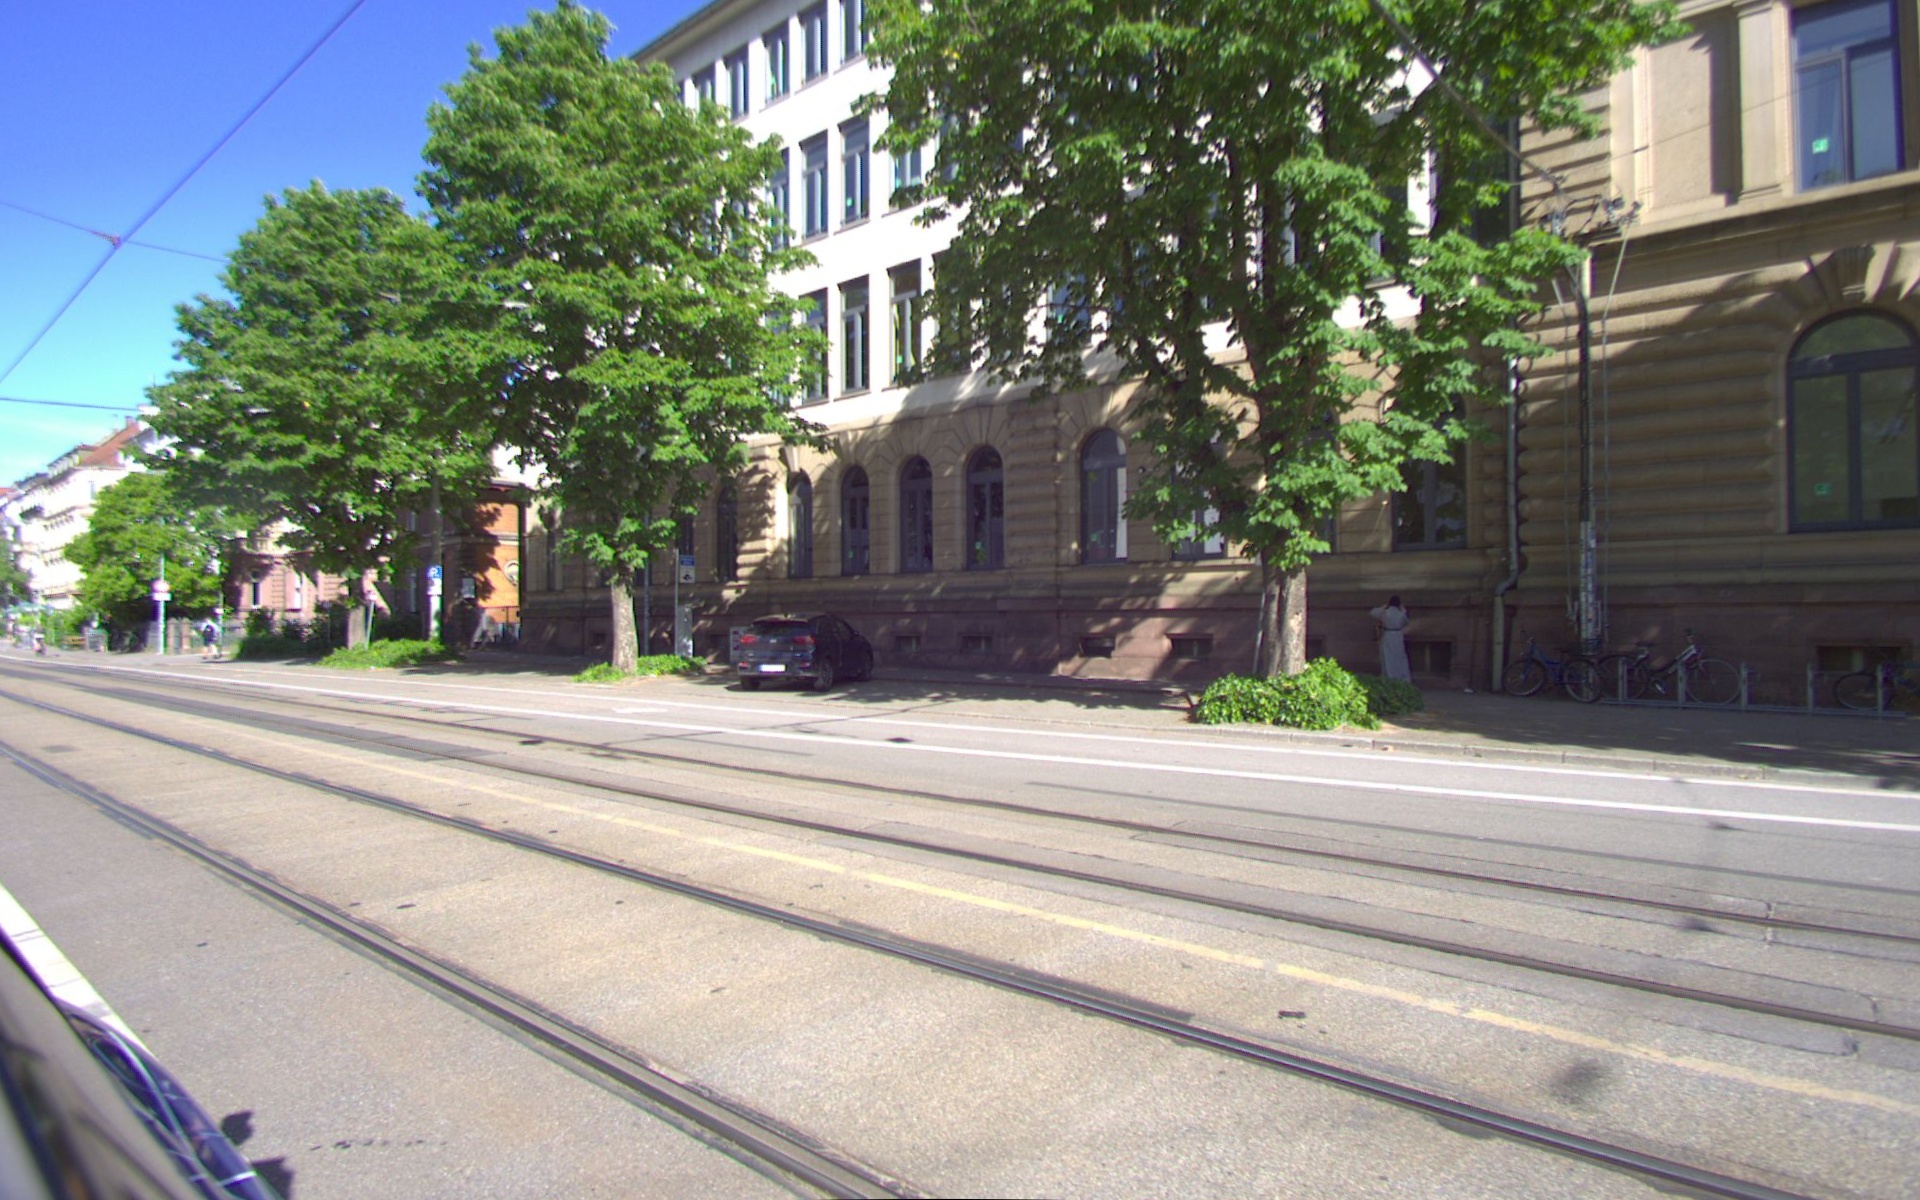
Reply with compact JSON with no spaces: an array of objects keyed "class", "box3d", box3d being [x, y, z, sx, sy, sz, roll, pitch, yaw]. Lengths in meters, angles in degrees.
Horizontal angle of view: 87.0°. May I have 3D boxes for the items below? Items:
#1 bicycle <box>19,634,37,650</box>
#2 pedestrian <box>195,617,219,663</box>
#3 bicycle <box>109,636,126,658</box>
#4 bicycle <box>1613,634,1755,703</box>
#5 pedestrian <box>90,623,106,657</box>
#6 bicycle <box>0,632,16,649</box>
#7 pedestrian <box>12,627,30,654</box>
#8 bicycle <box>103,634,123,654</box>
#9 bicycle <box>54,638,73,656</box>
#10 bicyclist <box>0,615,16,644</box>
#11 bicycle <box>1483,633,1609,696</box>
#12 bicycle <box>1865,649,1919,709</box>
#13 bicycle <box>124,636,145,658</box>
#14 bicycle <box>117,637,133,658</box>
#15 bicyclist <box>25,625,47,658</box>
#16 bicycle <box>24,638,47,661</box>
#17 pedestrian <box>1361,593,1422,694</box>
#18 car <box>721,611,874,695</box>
[{"class":"bicycle","box3d":[-65.652,2.952,71.286,1.839,1.097,0.654,-1,2,41]},{"class":"pedestrian","box3d":[-30.879,1.622,41.509,0.719,1.810,0.782,-3,1,-34]},{"class":"bicycle","box3d":[-45.496,2.517,54.633,0.638,1.152,1.907,-2,0,-42]},{"class":"bicycle","box3d":[10.412,0.960,14.581,1.619,0.924,0.476,-1,-1,41]},{"class":"pedestrian","box3d":[-47.022,2.194,55.218,0.567,1.845,0.691,0,-1,-31]},{"class":"bicycle","box3d":[-63.609,2.714,67.556,0.695,1.063,1.839,1,-1,-37]},{"class":"pedestrian","box3d":[-61.631,2.649,66.428,0.808,1.727,0.747,-2,0,40]},{"class":"bicycle","box3d":[-46.533,2.387,55.602,0.628,1.053,2.027,0,-1,-33]},{"class":"bicycle","box3d":[-55.219,2.869,62.350,1.742,1.067,0.632,-2,0,41]},{"class":"bicyclist","box3d":[-63.607,1.952,67.570,0.695,1.868,0.988,1,-1,-37]},{"class":"bicycle","box3d":[9.065,0.979,15.692,1.619,0.924,0.476,-1,-1,41]},{"class":"bicycle","box3d":[12.565,1.013,12.824,1.619,0.730,0.476,-1,-1,41]},{"class":"bicycle","box3d":[-42.066,2.374,51.565,1.905,1.053,0.583,-2,0,43]},{"class":"bicycle","box3d":[-43.802,2.463,53.090,0.582,1.053,1.907,-1,-1,-42]},{"class":"bicyclist","box3d":[-46.862,2.112,51.315,1.238,1.657,0.679,-2,-4,44]},{"class":"bicycle","box3d":[-46.856,2.480,51.279,1.932,1.133,0.679,-2,-4,44]},{"class":"pedestrian","box3d":[7.341,0.727,17.216,0.759,1.647,0.693,-2,0,40]},{"class":"car","box3d":[-3.289,1.039,21.332,1.858,1.562,3.984,-1,0,12]}]
